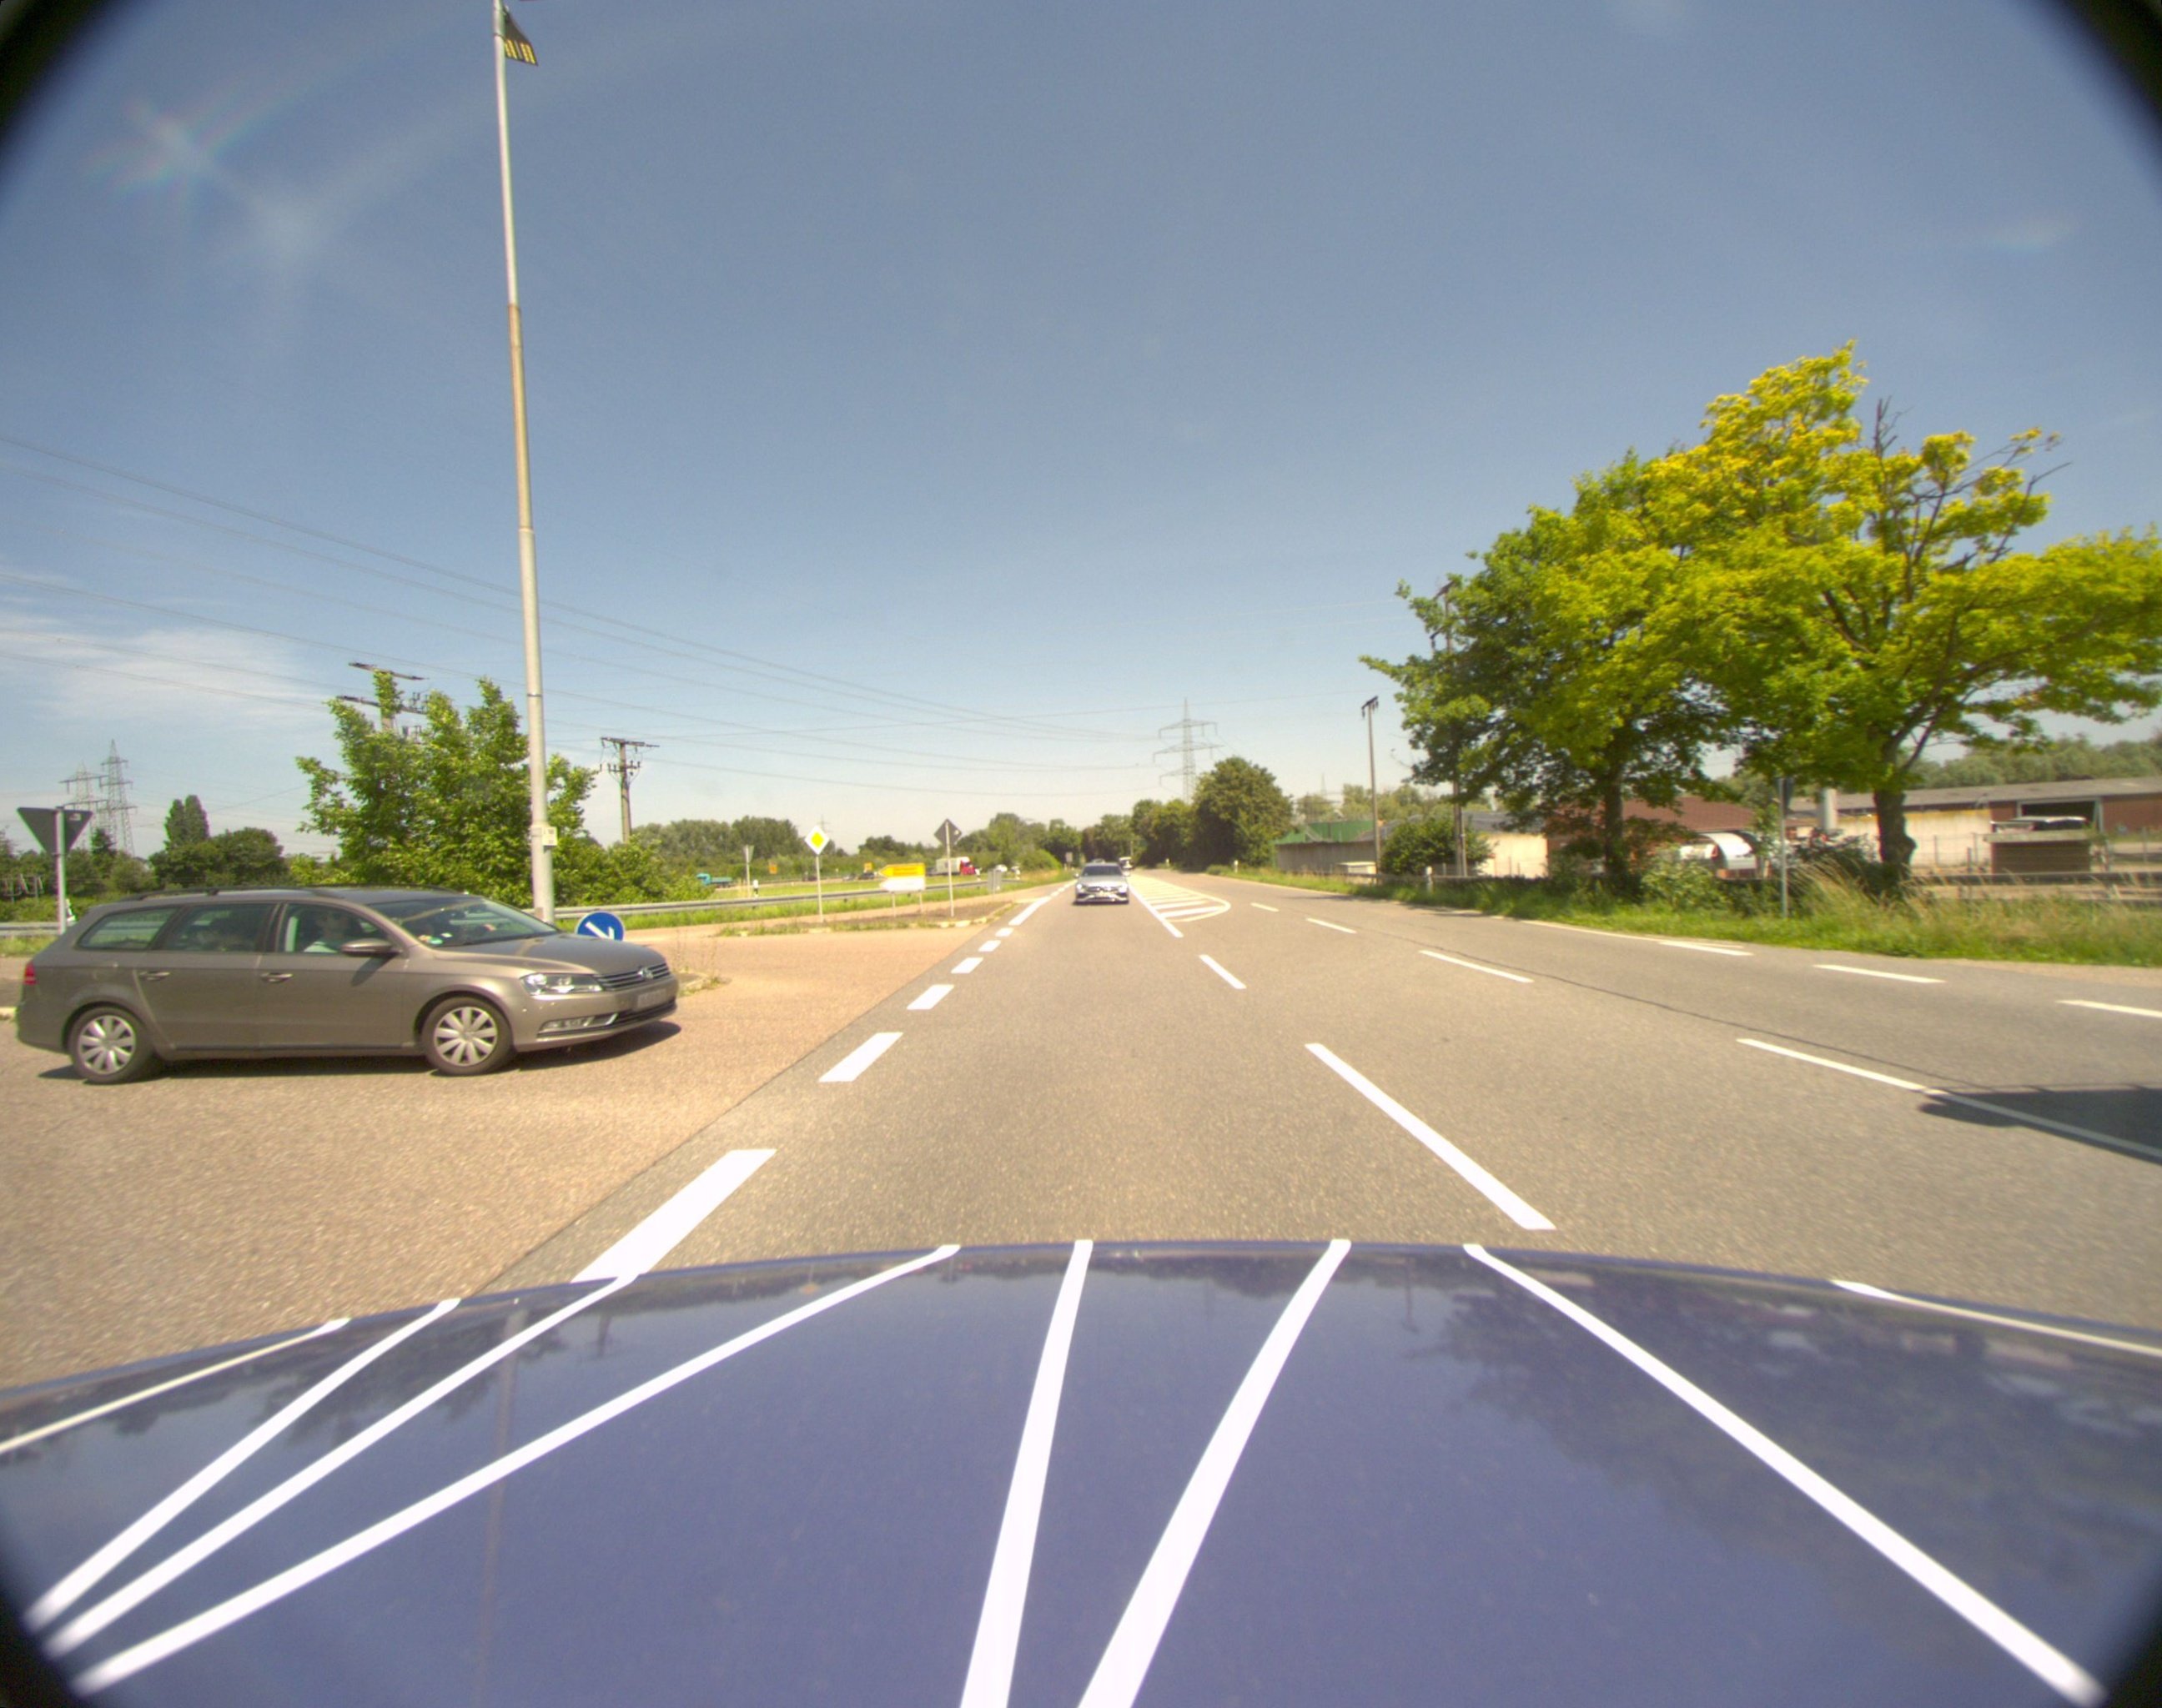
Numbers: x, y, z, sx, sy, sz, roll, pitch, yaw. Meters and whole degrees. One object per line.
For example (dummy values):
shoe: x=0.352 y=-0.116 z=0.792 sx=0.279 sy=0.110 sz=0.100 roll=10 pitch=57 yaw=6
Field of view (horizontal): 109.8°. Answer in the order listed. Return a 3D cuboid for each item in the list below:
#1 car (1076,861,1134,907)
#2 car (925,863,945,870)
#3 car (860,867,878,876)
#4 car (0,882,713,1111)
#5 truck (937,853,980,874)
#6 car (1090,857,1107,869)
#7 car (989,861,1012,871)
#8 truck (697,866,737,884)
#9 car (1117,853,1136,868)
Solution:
car: x=0.918 y=1.052 z=26.981 sx=1.823 sy=1.477 sz=4.151 roll=-1 pitch=-2 yaw=5
car: x=-31.734 y=2.723 z=165.418 sx=1.850 sy=1.452 sz=4.796 roll=-5 pitch=2 yaw=-44
car: x=-50.426 y=4.132 z=180.876 sx=4.427 sy=1.822 sz=1.936 roll=-3 pitch=1 yaw=43
car: x=-5.902 y=1.088 z=6.514 sx=4.522 sy=1.499 sz=1.915 roll=-2 pitch=0 yaw=2
truck: x=-24.443 y=1.892 z=151.066 sx=9.529 sy=3.559 sz=2.730 roll=-3 pitch=3 yaw=41
car: x=2.476 y=1.233 z=108.424 sx=1.746 sy=1.580 sz=3.998 roll=-5 pitch=0 yaw=-5
car: x=-15.607 y=2.355 z=147.288 sx=1.864 sy=1.592 sz=4.766 roll=-6 pitch=0 yaw=-39
truck: x=-82.118 y=4.690 z=171.574 sx=2.604 sy=3.451 sz=7.623 roll=-3 pitch=0 yaw=31
car: x=5.446 y=0.776 z=91.263 sx=1.737 sy=1.581 sz=3.957 roll=-4 pitch=0 yaw=-1
